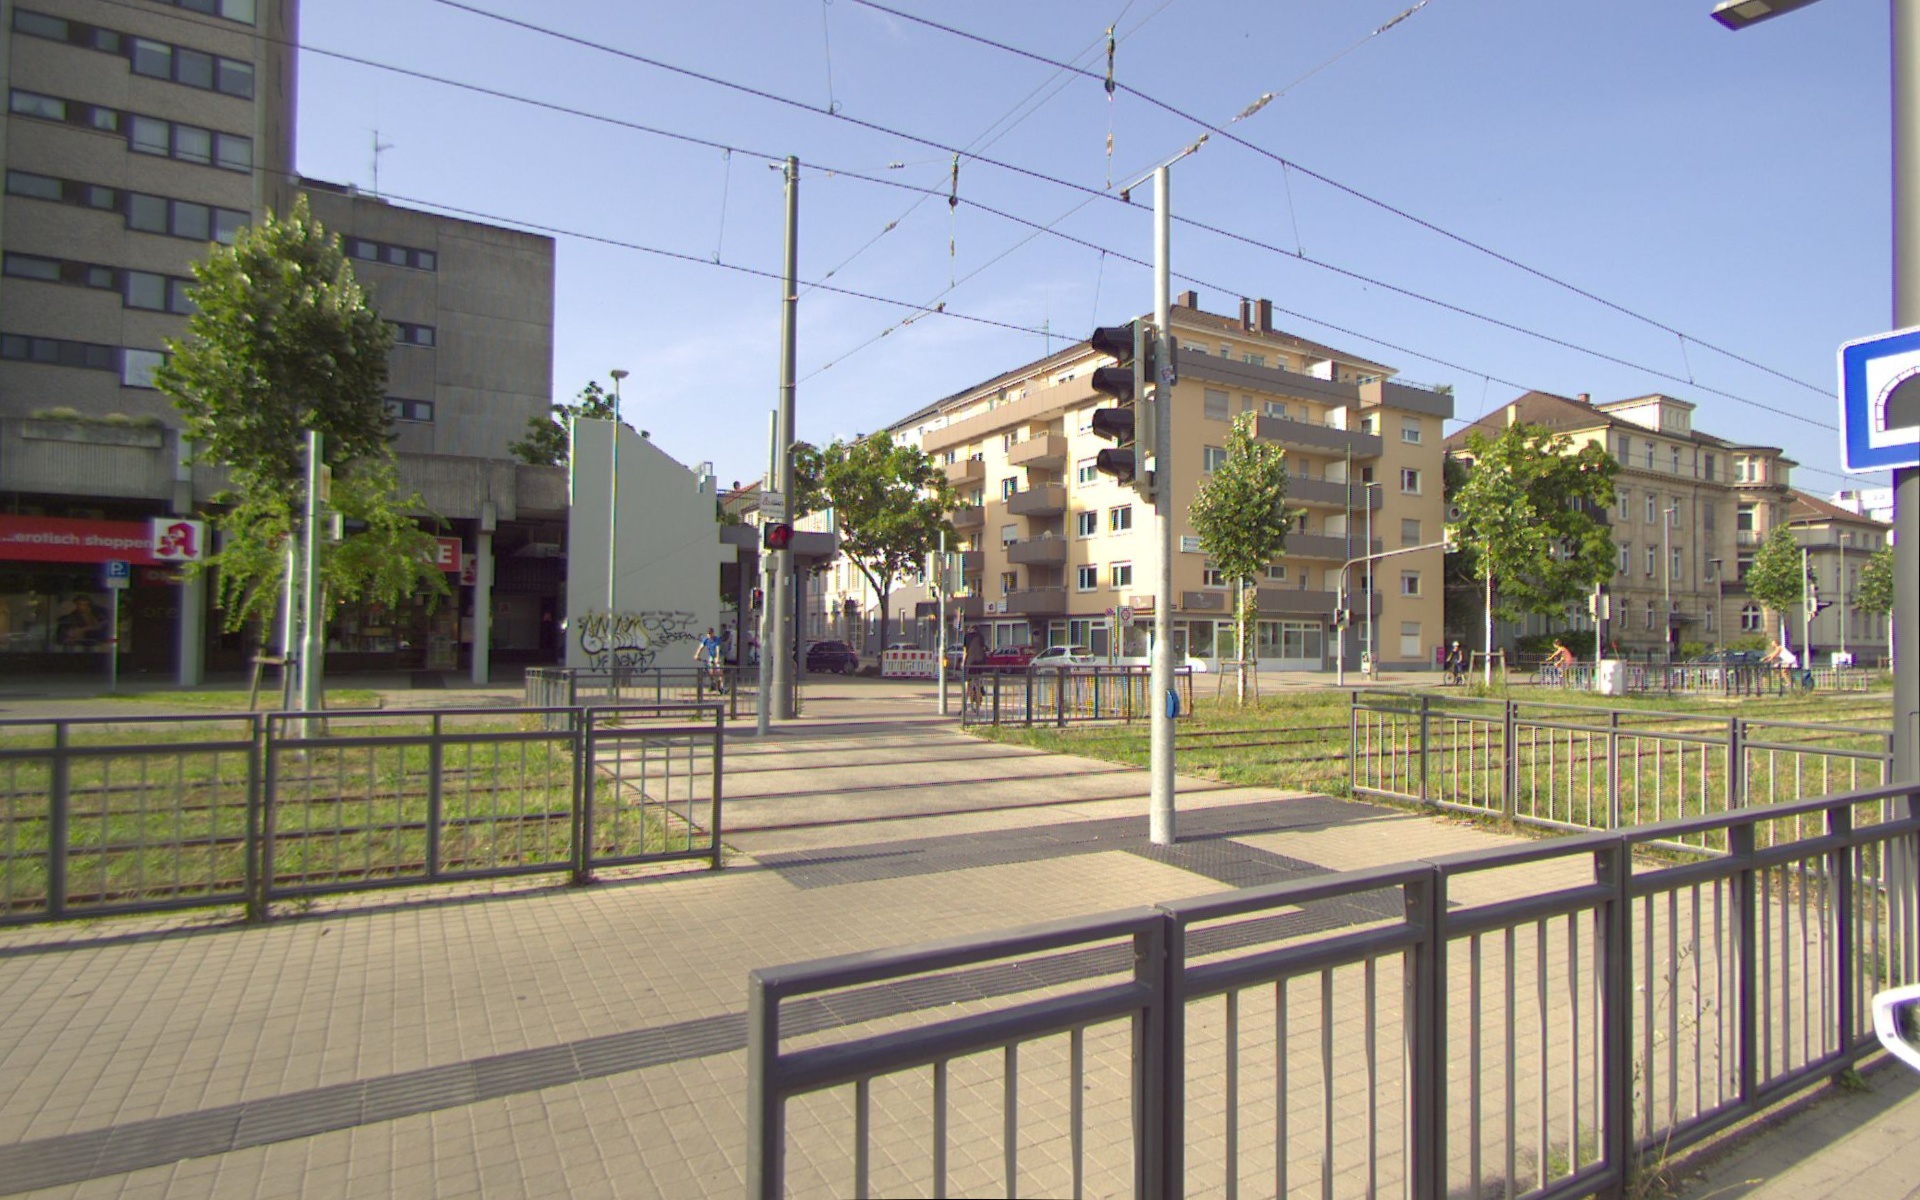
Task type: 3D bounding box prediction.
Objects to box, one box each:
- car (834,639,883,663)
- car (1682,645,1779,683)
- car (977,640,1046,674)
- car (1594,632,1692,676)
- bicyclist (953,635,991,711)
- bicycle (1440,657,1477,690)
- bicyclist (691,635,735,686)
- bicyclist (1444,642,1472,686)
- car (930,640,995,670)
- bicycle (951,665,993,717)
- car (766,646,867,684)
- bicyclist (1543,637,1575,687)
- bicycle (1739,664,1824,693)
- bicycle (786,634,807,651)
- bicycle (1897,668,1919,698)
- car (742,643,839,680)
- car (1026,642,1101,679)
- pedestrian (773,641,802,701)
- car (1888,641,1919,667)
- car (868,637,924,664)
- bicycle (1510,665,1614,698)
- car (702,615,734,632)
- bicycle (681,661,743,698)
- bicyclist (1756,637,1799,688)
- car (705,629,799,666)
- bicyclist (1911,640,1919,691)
[{"bbox_3d":[-7.153,3.569,70.591,1.797,1.625,3.916,2,-3,-34],"label":"car"},{"bbox_3d":[33.492,2.770,43.648,4.350,1.533,1.983,2,-2,-32],"label":"car"},{"bbox_3d":[2.656,2.943,52.398,1.755,1.711,3.766,2,-2,-32],"label":"car"},{"bbox_3d":[32.798,2.580,48.172,5.244,2.040,1.983,2,-2,-32],"label":"car"},{"bbox_3d":[0.227,1.404,19.354,0.536,1.413,0.973,-1,-4,-9],"label":"bicyclist"},{"bbox_3d":[21.122,3.101,42.556,1.740,1.363,0.690,2,-2,-35],"label":"bicycle"},{"bbox_3d":[-7.234,1.767,29.430,0.676,1.459,1.019,-1,-2,43],"label":"bicyclist"},{"bbox_3d":[21.095,2.706,42.544,1.073,1.829,0.664,2,-2,-35],"label":"bicyclist"},{"bbox_3d":[0.109,3.076,56.642,1.796,1.625,3.917,2,-2,-33],"label":"car"},{"bbox_3d":[0.218,1.755,19.452,0.547,0.947,1.611,-1,-4,-9],"label":"bicycle"},{"bbox_3d":[-6.811,3.095,47.823,4.334,1.649,1.898,3,0,-33],"label":"car"},{"bbox_3d":[20.302,2.097,34.061,0.876,1.650,0.891,0,-2,27],"label":"bicyclist"},{"bbox_3d":[25.323,2.417,30.975,1.975,0.804,0.625,-2,-3,44],"label":"bicycle"},{"bbox_3d":[-9.992,2.580,61.204,0.698,1.012,2.334,2,-2,-23],"label":"bicycle"},{"bbox_3d":[27.674,2.385,28.473,1.572,0.808,0.720,2,0,-2],"label":"bicycle"},{"bbox_3d":[-8.373,3.049,49.679,4.334,1.649,1.898,3,0,-33],"label":"car"},{"bbox_3d":[4.940,2.893,48.416,1.690,1.604,3.602,-1,-1,-33],"label":"car"},{"bbox_3d":[-4.987,2.040,29.051,0.637,1.712,0.656,2,-2,-27],"label":"pedestrian"},{"bbox_3d":[79.970,4.575,83.972,5.206,2.040,2.237,4,-1,-32],"label":"car"},{"bbox_3d":[-4.073,3.152,63.401,1.797,1.625,3.916,2,-3,-34],"label":"car"},{"bbox_3d":[20.327,2.751,34.005,2.942,0.978,0.899,0,-2,27],"label":"bicycle"},{"bbox_3d":[-25.065,2.454,104.094,1.979,1.658,3.963,2,-3,-34],"label":"car"},{"bbox_3d":[-7.253,2.319,29.415,0.676,1.003,1.657,-1,-3,44],"label":"bicycle"},{"bbox_3d":[25.261,1.924,31.057,0.973,1.520,0.617,-1,-2,44],"label":"bicyclist"},{"bbox_3d":[-11.677,2.685,56.544,4.776,1.994,1.984,3,-3,-30],"label":"car"},{"bbox_3d":[27.719,1.877,28.484,0.790,1.459,0.687,2,0,-1],"label":"bicyclist"}]
